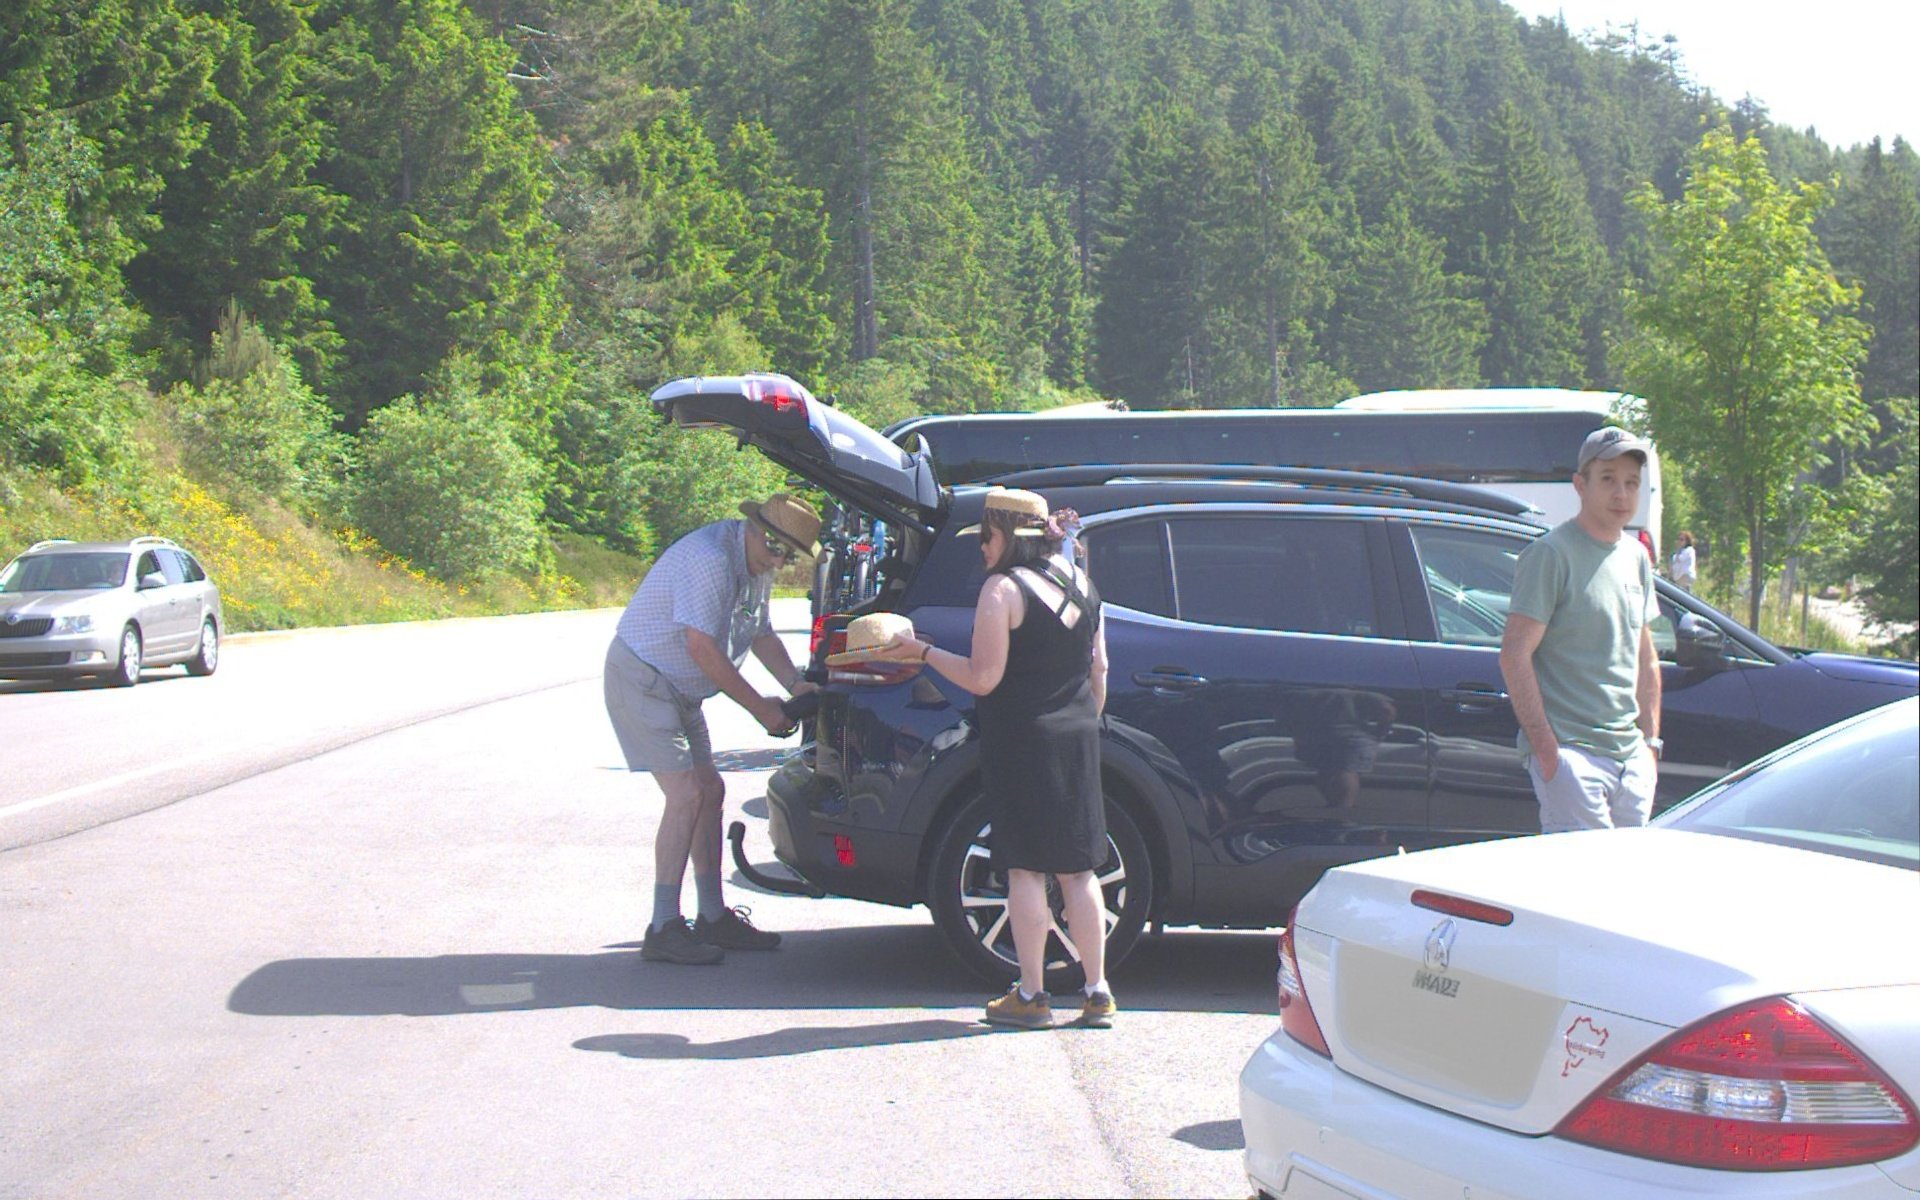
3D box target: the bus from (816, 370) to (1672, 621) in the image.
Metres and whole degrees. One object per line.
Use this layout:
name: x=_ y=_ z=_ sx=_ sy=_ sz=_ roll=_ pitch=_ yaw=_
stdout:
bus: x=4.496 y=-1.590 z=54.218 sx=13.100 sy=3.520 sz=3.042 roll=-1 pitch=1 yaw=12

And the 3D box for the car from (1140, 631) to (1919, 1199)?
car: x=2.693 y=0.783 z=6.012 sx=4.396 sy=1.291 sz=1.756 roll=1 pitch=2 yaw=-21

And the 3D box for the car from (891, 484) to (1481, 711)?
car: x=1.663 y=-0.036 z=25.879 sx=4.244 sy=1.548 sz=1.838 roll=-1 pitch=1 yaw=2

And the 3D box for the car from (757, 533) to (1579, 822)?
car: x=1.010 y=0.380 z=18.054 sx=4.081 sy=1.372 sz=1.703 roll=1 pitch=1 yaw=-4

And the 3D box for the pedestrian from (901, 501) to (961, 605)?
pedestrian: x=-0.448 y=-0.726 z=52.786 sx=0.770 sy=1.579 sz=0.772 roll=-1 pitch=1 yaw=8

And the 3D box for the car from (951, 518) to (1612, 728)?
car: x=2.104 y=0.131 z=23.180 sx=4.244 sy=1.264 sz=1.838 roll=-1 pitch=1 yaw=2

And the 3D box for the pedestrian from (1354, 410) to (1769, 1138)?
pedestrian: x=1.563 y=0.427 z=8.979 sx=0.746 sy=1.794 sz=0.736 roll=1 pitch=0 yaw=-30

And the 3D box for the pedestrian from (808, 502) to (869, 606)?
pedestrian: x=-1.880 y=-0.715 z=53.277 sx=0.770 sy=1.579 sz=0.772 roll=-1 pitch=1 yaw=8

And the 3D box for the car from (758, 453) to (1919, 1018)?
car: x=1.527 y=0.434 z=11.642 sx=4.343 sy=1.620 sz=1.870 roll=2 pitch=0 yaw=-4

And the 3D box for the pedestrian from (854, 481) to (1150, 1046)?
pedestrian: x=0.119 y=0.465 z=10.138 sx=0.714 sy=1.607 sz=0.537 roll=1 pitch=0 yaw=-19

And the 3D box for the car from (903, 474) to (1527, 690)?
car: x=2.097 y=-0.168 z=28.979 sx=5.034 sy=1.645 sz=2.048 roll=-1 pitch=1 yaw=2

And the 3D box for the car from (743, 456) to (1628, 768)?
car: x=1.316 y=0.053 z=20.326 sx=4.949 sy=1.690 sz=1.945 roll=-1 pitch=1 yaw=4

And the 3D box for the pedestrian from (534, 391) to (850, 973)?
pedestrian: x=-0.896 y=0.238 z=11.534 sx=0.736 sy=1.864 sz=0.757 roll=3 pitch=4 yaw=32

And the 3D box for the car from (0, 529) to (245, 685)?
car: x=-8.924 y=0.022 z=35.149 sx=1.879 sy=1.469 sz=4.713 roll=0 pitch=1 yaw=5
